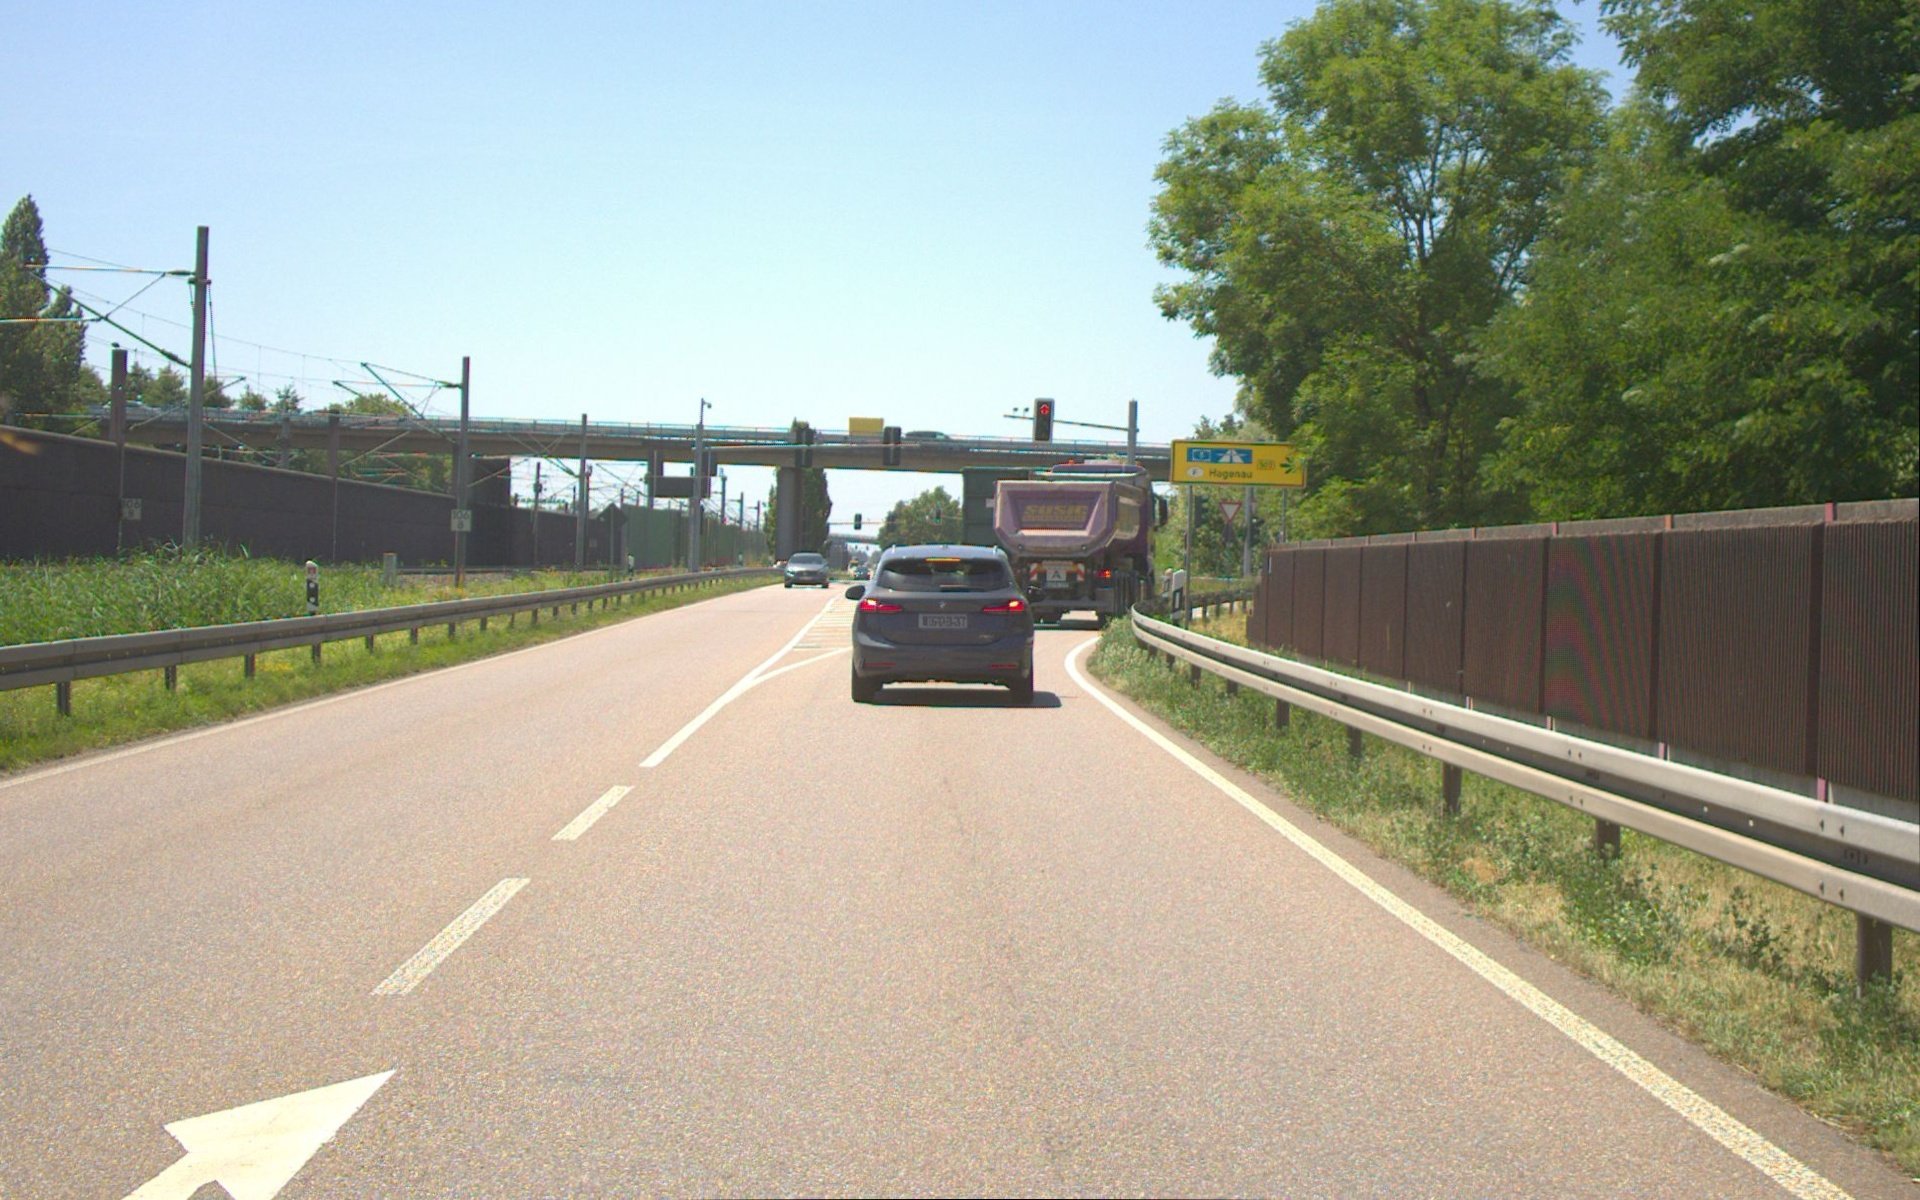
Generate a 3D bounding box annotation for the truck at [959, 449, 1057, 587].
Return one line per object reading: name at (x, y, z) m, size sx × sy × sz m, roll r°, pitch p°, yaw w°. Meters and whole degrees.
truck at (1.365, -2.318, 98.184) m, size 2.590 × 3.725 × 9.575 m, roll 1°, pitch 1°, yaw 1°

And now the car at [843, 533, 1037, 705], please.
car at (-0.153, 0.158, 35.200) m, size 1.845 × 1.617 × 4.226 m, roll 1°, pitch 1°, yaw 1°

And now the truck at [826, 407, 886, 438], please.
truck at (-7.254, -12.395, 240.397) m, size 3.988 × 2.007 × 2.000 m, roll 1°, pitch 1°, yaw 5°

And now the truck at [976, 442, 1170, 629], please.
truck at (2.682, -1.382, 76.487) m, size 2.834 × 3.808 × 11.881 m, roll 1°, pitch 1°, yaw 9°

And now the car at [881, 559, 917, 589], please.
car at (-3.770, -1.614, 213.465) m, size 1.927 × 1.761 × 4.597 m, roll 2°, pitch 1°, yaw 2°

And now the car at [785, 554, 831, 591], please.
car at (-6.379, -1.167, 144.064) m, size 1.864 × 1.480 × 4.888 m, roll 1°, pitch 1°, yaw -3°
